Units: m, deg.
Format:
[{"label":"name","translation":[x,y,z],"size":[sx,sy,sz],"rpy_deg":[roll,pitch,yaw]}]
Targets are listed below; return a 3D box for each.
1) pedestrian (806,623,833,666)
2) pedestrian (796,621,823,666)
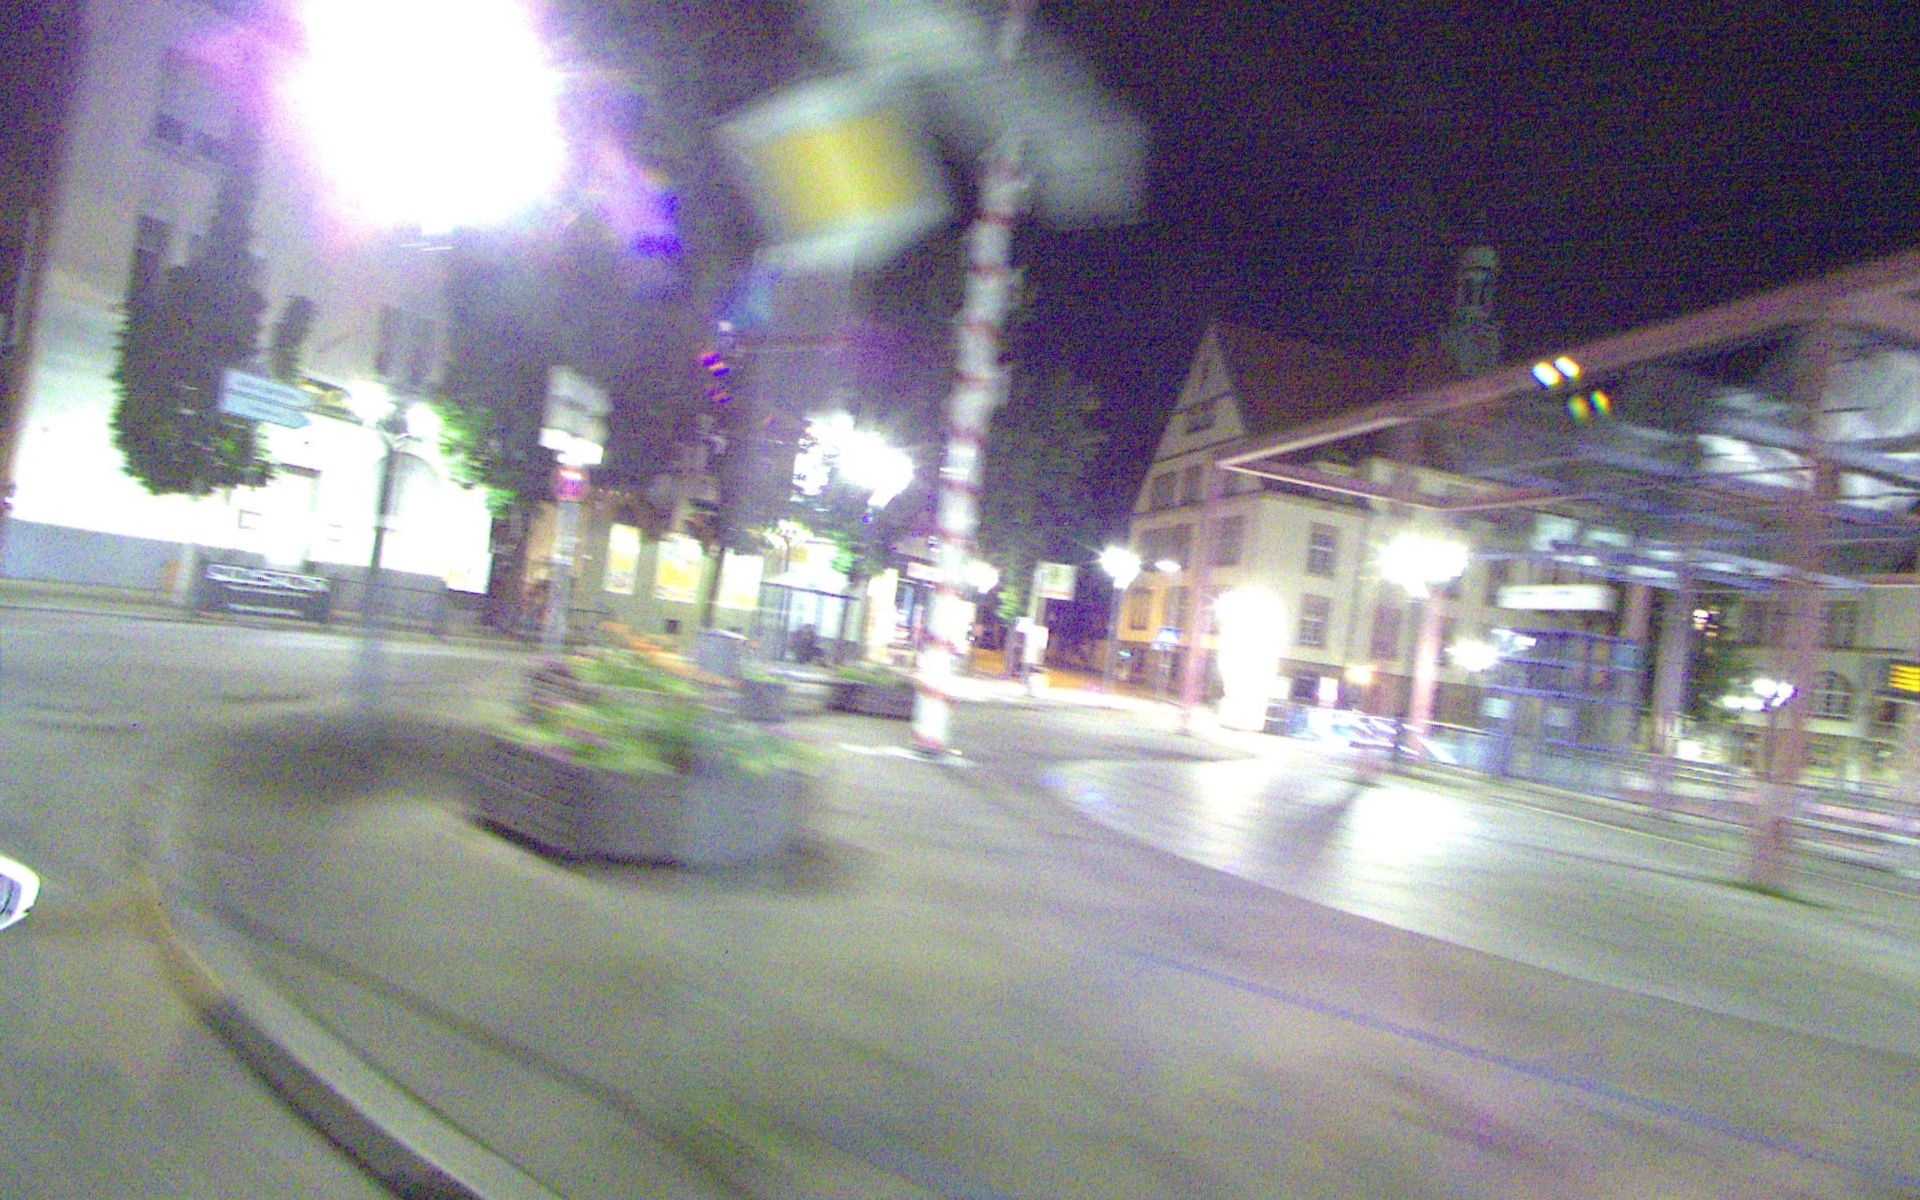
[{"label":"pedestrian","translation":[-4.511,1.435,32.286],"size":[0.506,1.314,0.466],"rpy_deg":[7,-1,32]},{"label":"pedestrian","translation":[-4.760,1.381,31.881],"size":[0.506,1.314,0.466],"rpy_deg":[7,-1,32]}]
